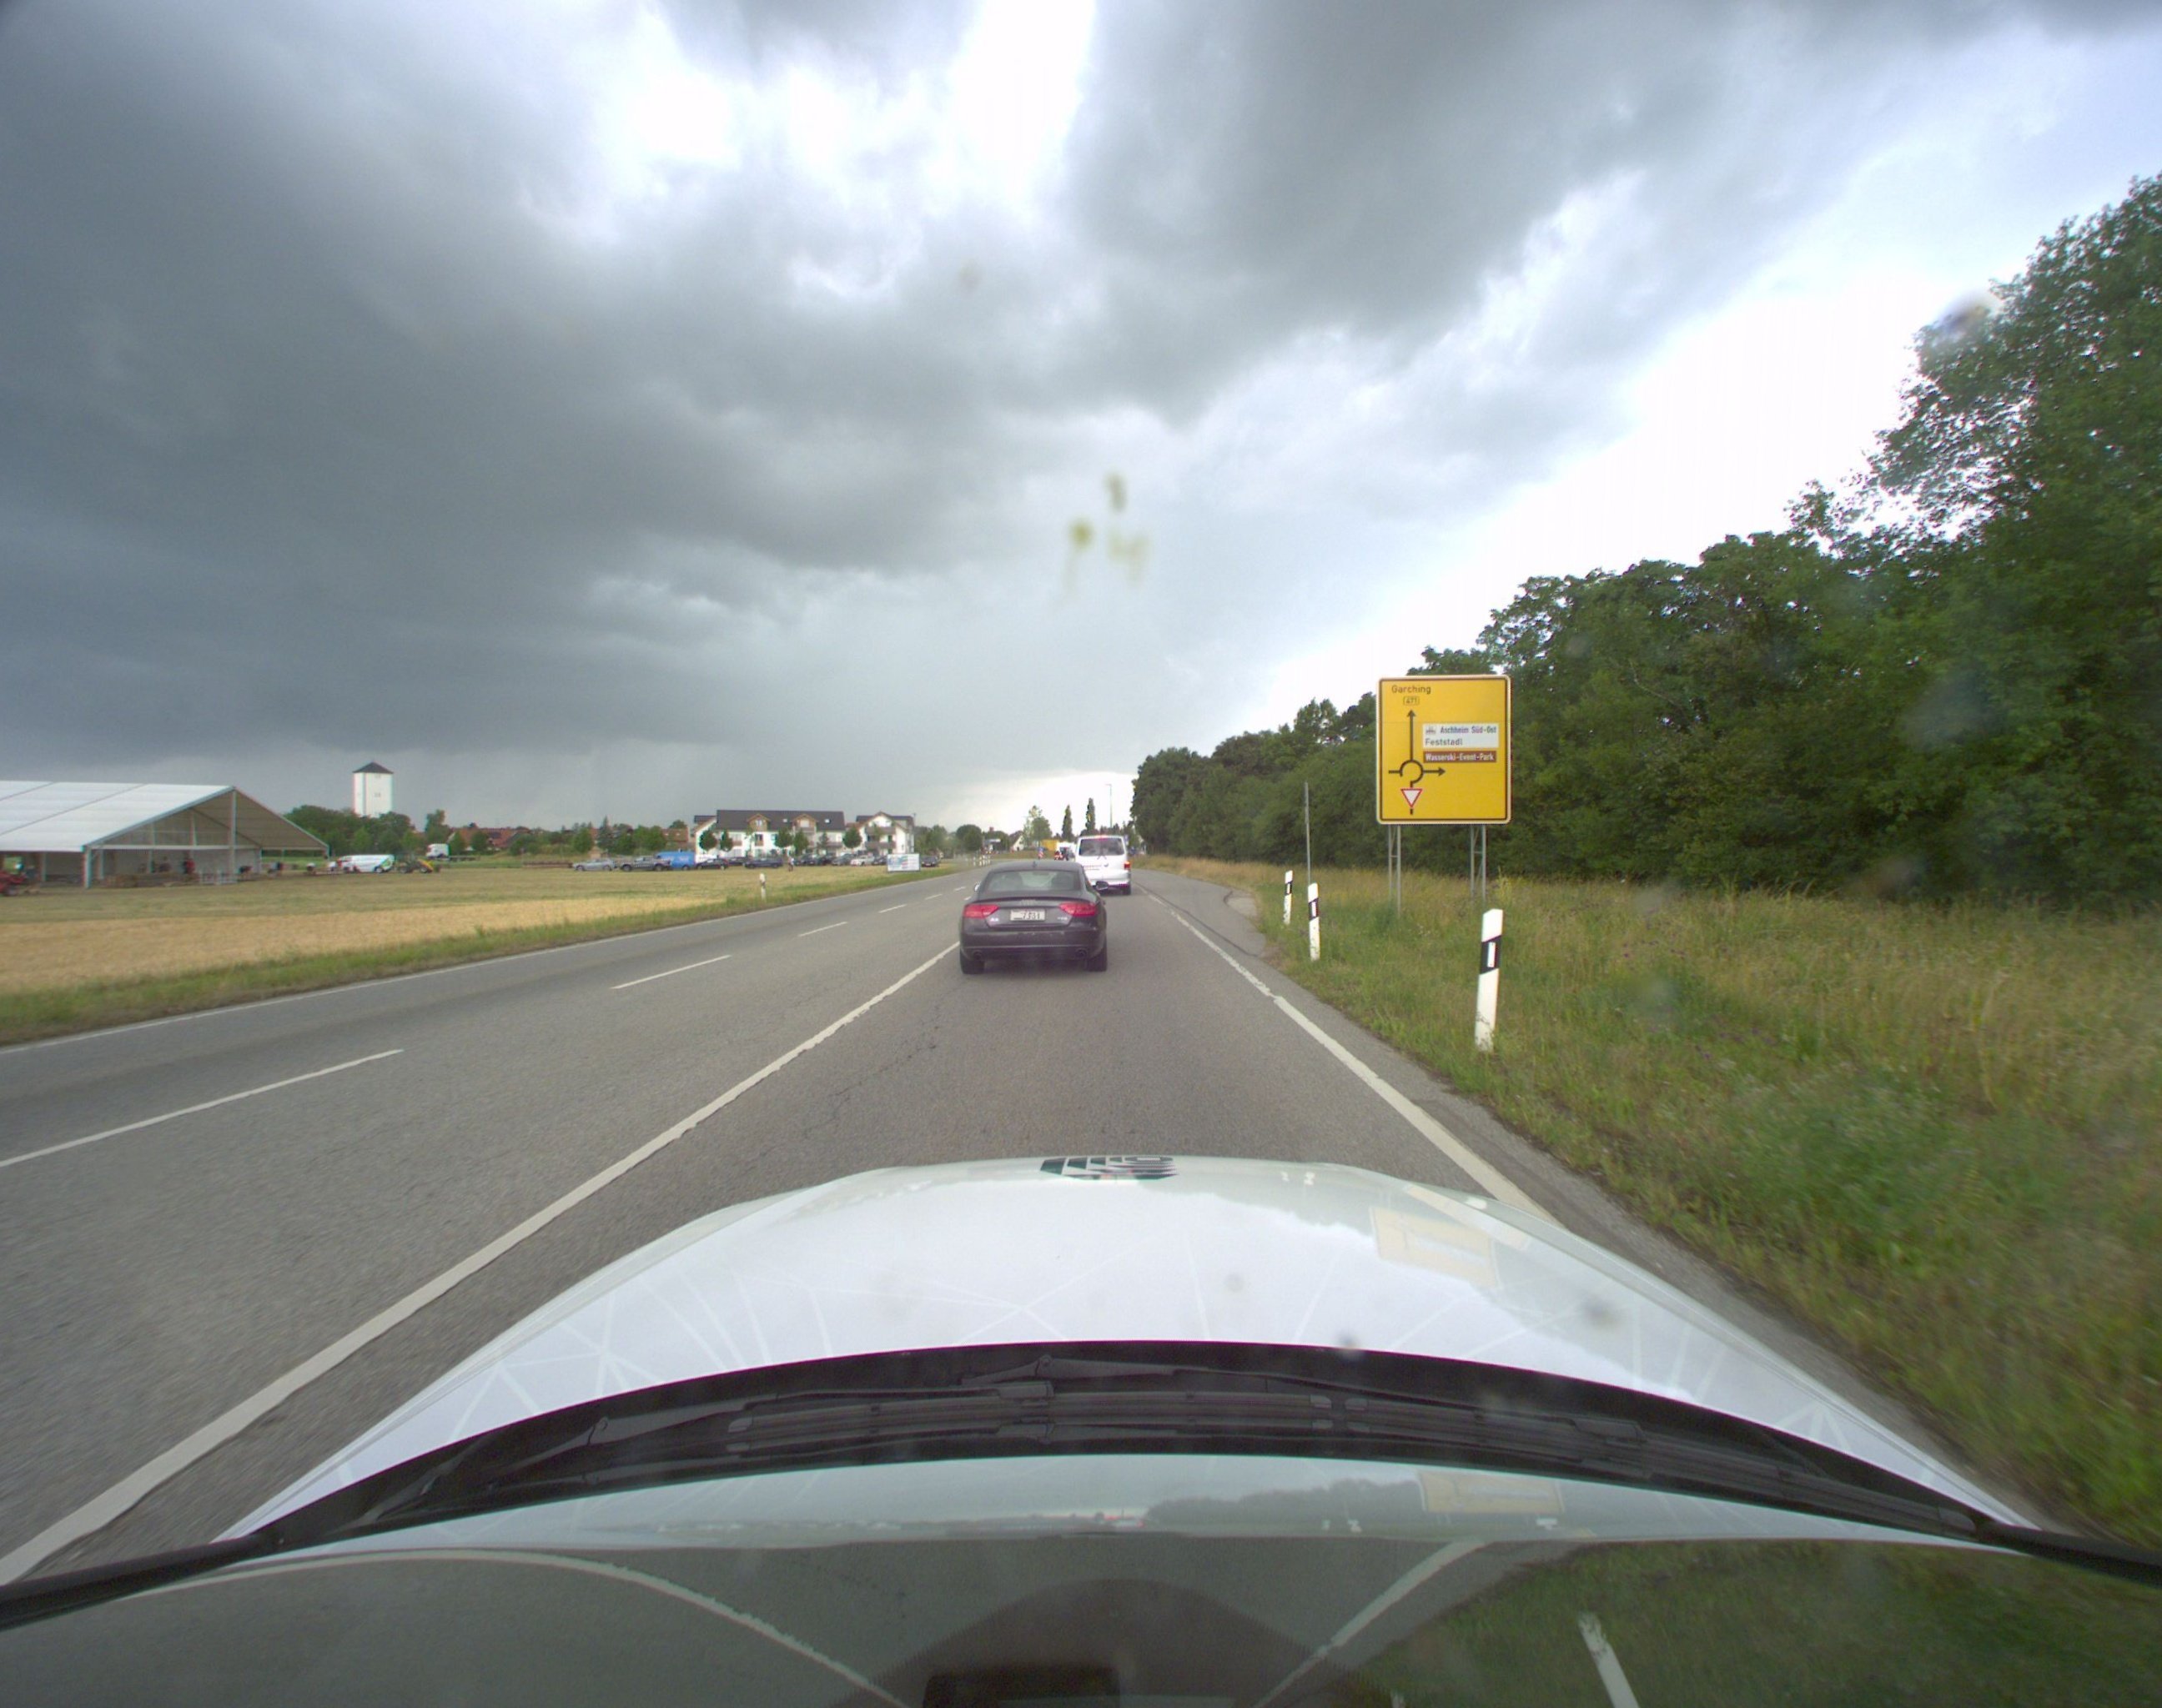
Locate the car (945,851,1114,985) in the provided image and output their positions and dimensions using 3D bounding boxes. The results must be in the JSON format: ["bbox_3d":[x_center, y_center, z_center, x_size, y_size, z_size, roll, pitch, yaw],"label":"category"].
[{"bbox_3d":[-0.574,0.713,11.260,1.869,1.454,4.176,-1,0,0],"label":"car"}]

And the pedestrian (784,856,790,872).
[{"bbox_3d":[-33.099,1.155,91.655,0.548,1.785,0.675,-1,0,-11],"label":"pedestrian"}]

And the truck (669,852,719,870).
[{"bbox_3d":[-49.764,0.871,104.874,5.588,2.196,2.587,-1,0,-23],"label":"truck"}]

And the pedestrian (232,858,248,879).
[{"bbox_3d":[-72.131,1.227,69.852,0.691,1.776,0.689,-1,0,-22],"label":"pedestrian"}]

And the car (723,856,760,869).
[{"bbox_3d":[-48.341,1.212,116.041,4.641,1.697,1.987,-1,0,-20],"label":"car"}]

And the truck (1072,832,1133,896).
[{"bbox_3d":[0.698,0.304,27.906,1.898,1.998,4.629,-1,0,1],"label":"truck"}]

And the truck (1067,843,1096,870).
[{"bbox_3d":[0.073,0.199,65.663,2.186,2.013,5.085,-1,0,1],"label":"truck"}]

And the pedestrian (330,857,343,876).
[{"bbox_3d":[-72.934,1.221,79.763,0.689,1.776,0.691,-1,0,-14],"label":"pedestrian"}]

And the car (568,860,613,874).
[{"bbox_3d":[-56.763,1.462,94.353,4.317,1.461,1.875,-1,0,-26],"label":"car"}]

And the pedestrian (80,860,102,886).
[{"bbox_3d":[-76.508,1.464,62.930,0.868,2.013,0.771,-1,0,15],"label":"pedestrian"}]

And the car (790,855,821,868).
[{"bbox_3d":[-38.668,1.037,114.325,1.977,1.629,4.232,-1,0,19],"label":"car"}]

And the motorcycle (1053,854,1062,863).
[{"bbox_3d":[-2.728,0.485,94.851,0.943,1.019,2.280,-1,0,-5],"label":"motorcycle"}]

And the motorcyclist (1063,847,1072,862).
[{"bbox_3d":[-1.266,0.042,75.798,0.769,1.383,0.821,-1,0,2],"label":"motorcyclist"}]

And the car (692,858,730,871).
[{"bbox_3d":[-46.273,1.340,102.045,4.169,1.518,1.987,-1,0,-20],"label":"car"}]

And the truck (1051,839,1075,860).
[{"bbox_3d":[-2.353,-0.567,106.158,2.623,2.737,5.854,0,0,-6],"label":"truck"}]

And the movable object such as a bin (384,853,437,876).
[{"bbox_3d":[-70.133,1.080,85.251,4.007,2.243,1.869,-1,0,-28],"label":"movable object such as a bin"}]

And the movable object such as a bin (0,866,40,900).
[{"bbox_3d":[-61.523,1.647,45.289,2.600,1.864,4.440,-1,0,-23],"label":"movable object such as a bin"}]

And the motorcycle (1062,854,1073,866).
[{"bbox_3d":[-1.237,0.569,75.942,0.916,1.094,2.190,-1,0,2],"label":"motorcycle"}]

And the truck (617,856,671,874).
[{"bbox_3d":[-49.915,1.194,93.149,5.254,1.920,2.094,-1,0,-26],"label":"truck"}]

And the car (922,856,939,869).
[{"bbox_3d":[-18.226,0.979,98.502,1.994,1.442,3.986,-1,1,-10],"label":"car"}]

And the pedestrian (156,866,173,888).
[{"bbox_3d":[-75.175,1.906,66.790,0.734,1.779,0.752,-1,0,-32],"label":"pedestrian"}]

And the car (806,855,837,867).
[{"bbox_3d":[-35.715,0.974,112.251,1.977,1.629,4.232,-1,0,19],"label":"car"}]

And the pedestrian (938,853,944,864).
[{"bbox_3d":[-20.429,0.620,118.945,0.695,1.586,0.660,-1,0,17],"label":"pedestrian"}]

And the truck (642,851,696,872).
[{"bbox_3d":[-49.189,0.848,97.335,5.471,2.446,2.376,-1,0,-23],"label":"truck"}]

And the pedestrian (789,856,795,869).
[{"bbox_3d":[-32.962,0.968,92.852,0.591,1.555,0.622,-1,0,-19],"label":"pedestrian"}]

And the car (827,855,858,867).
[{"bbox_3d":[-32.614,0.940,111.668,1.977,1.535,4.232,-1,0,19],"label":"car"}]

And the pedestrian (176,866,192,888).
[{"bbox_3d":[-74.242,1.901,67.433,0.657,1.744,0.721,-1,0,-28],"label":"pedestrian"}]

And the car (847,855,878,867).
[{"bbox_3d":[-29.835,0.966,111.161,1.977,1.446,4.232,-1,0,19],"label":"car"}]

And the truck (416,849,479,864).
[{"bbox_3d":[-115.984,0.416,149.108,9.302,2.530,3.304,-1,0,4],"label":"truck"}]

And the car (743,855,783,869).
[{"bbox_3d":[-40.673,0.972,104.306,4.731,1.697,1.987,-1,0,-20],"label":"car"}]

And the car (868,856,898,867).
[{"bbox_3d":[-26.974,1.008,110.866,1.977,1.446,4.232,-1,0,19],"label":"car"}]

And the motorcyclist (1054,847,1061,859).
[{"bbox_3d":[-2.740,-0.106,94.851,0.784,1.356,0.852,-1,0,-6],"label":"motorcyclist"}]

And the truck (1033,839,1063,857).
[{"bbox_3d":[-6.870,-1.333,167.951,3.586,3.578,9.897,0,0,-18],"label":"truck"}]

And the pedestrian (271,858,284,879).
[{"bbox_3d":[-74.266,1.352,75.283,0.626,1.865,0.704,-1,0,-19],"label":"pedestrian"}]

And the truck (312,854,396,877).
[{"bbox_3d":[-76.665,1.185,85.983,6.077,2.217,2.697,-1,0,-27],"label":"truck"}]
